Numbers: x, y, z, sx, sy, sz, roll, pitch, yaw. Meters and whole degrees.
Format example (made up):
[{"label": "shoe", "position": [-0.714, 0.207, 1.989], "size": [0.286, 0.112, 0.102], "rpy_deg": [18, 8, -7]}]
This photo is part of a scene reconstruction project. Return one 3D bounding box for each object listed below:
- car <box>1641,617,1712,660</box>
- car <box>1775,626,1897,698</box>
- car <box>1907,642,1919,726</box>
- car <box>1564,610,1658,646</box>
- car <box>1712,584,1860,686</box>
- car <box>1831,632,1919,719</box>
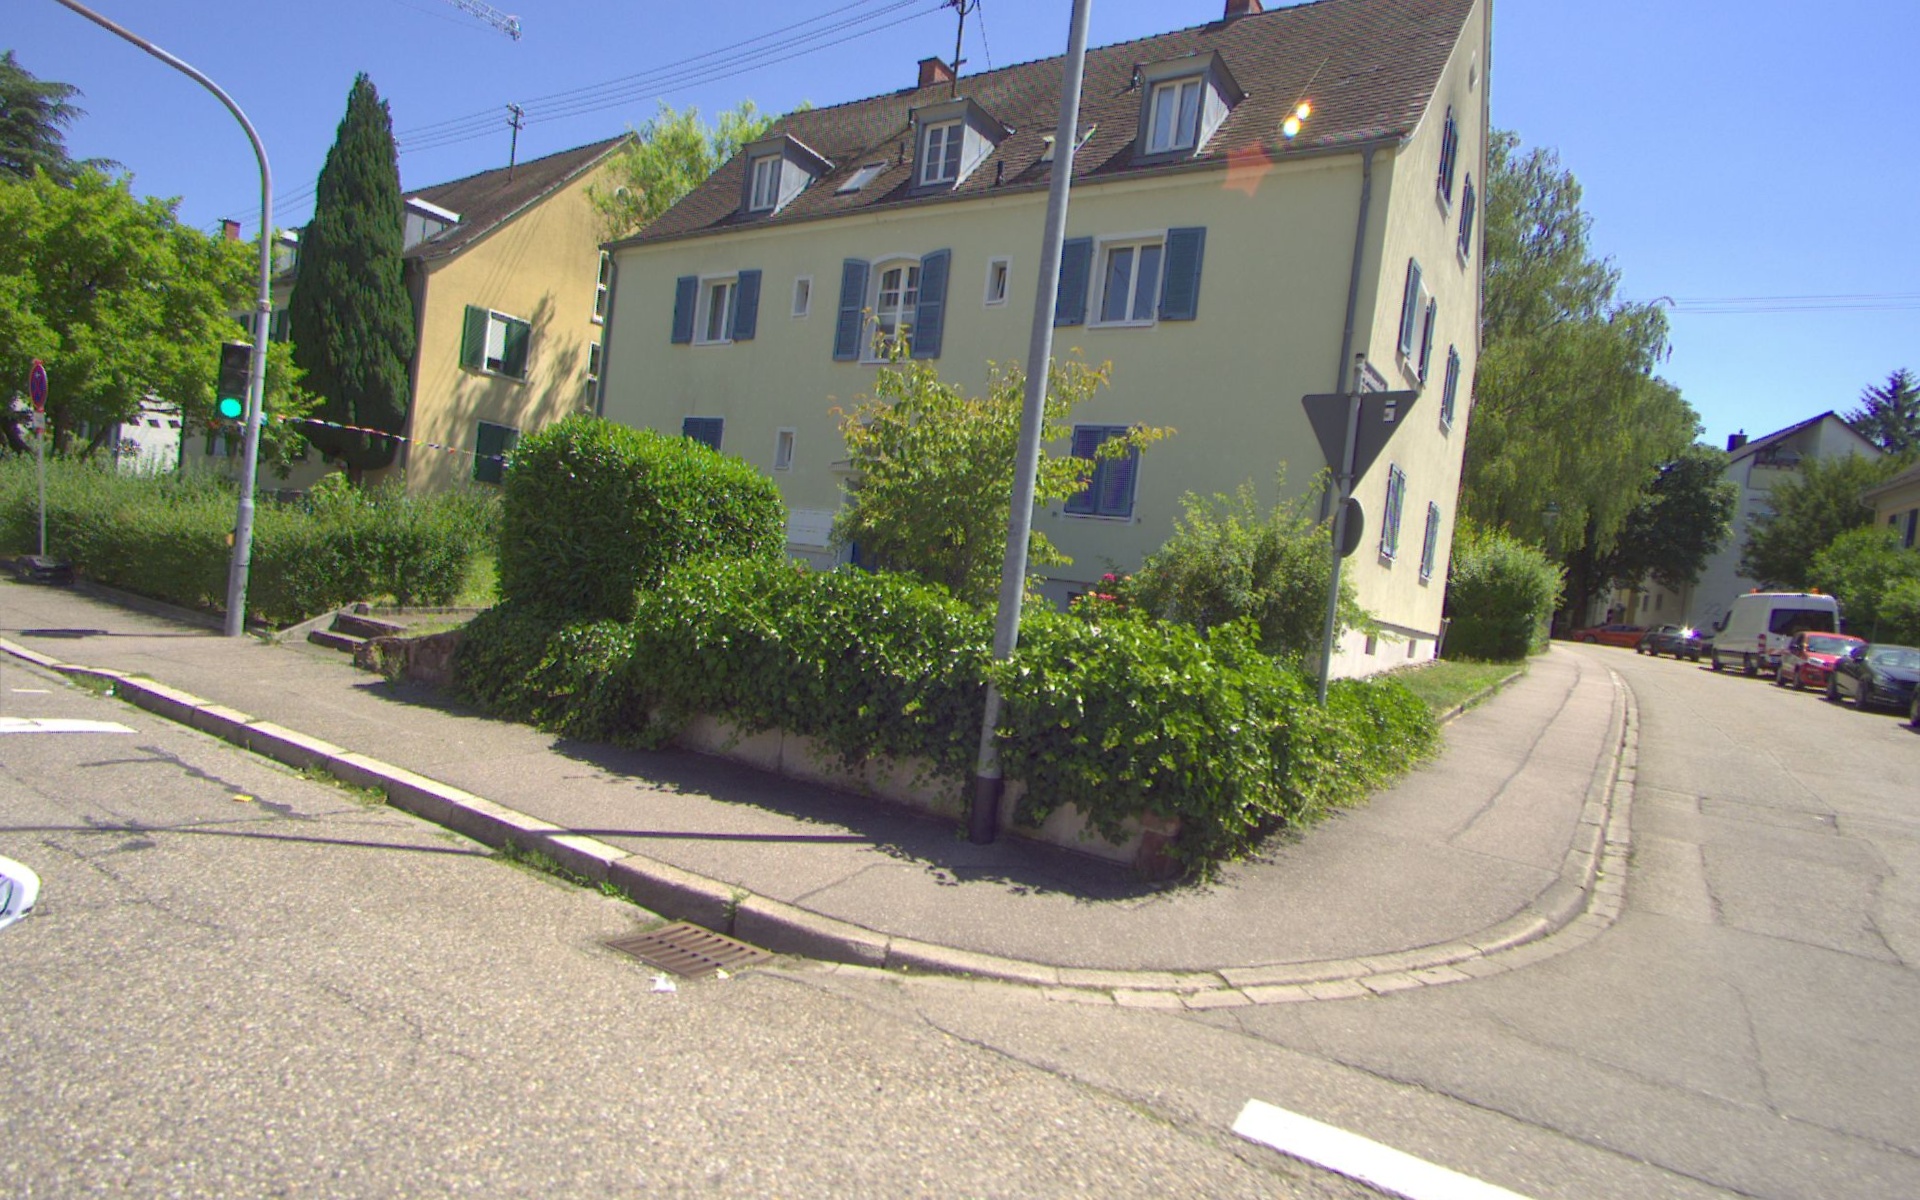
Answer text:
[{"label": "car", "position": [30.642, 1.637, 43.111], "size": [1.769, 1.530, 3.992], "rpy_deg": [7, 2, 28]}, {"label": "car", "position": [22.767, 1.586, 26.294], "size": [1.771, 1.530, 3.985], "rpy_deg": [8, 2, 35]}, {"label": "car", "position": [16.813, 1.529, 16.119], "size": [1.672, 1.473, 3.820], "rpy_deg": [8, 4, 35]}, {"label": "car", "position": [36.500, 1.549, 56.512], "size": [3.925, 1.531, 1.798], "rpy_deg": [7, 3, 19]}, {"label": "car", "position": [25.836, 1.015, 31.705], "size": [2.124, 2.733, 4.869], "rpy_deg": [7, 3, 24]}, {"label": "car", "position": [19.573, 1.547, 20.737], "size": [1.771, 1.531, 3.984], "rpy_deg": [8, 4, 34]}]
